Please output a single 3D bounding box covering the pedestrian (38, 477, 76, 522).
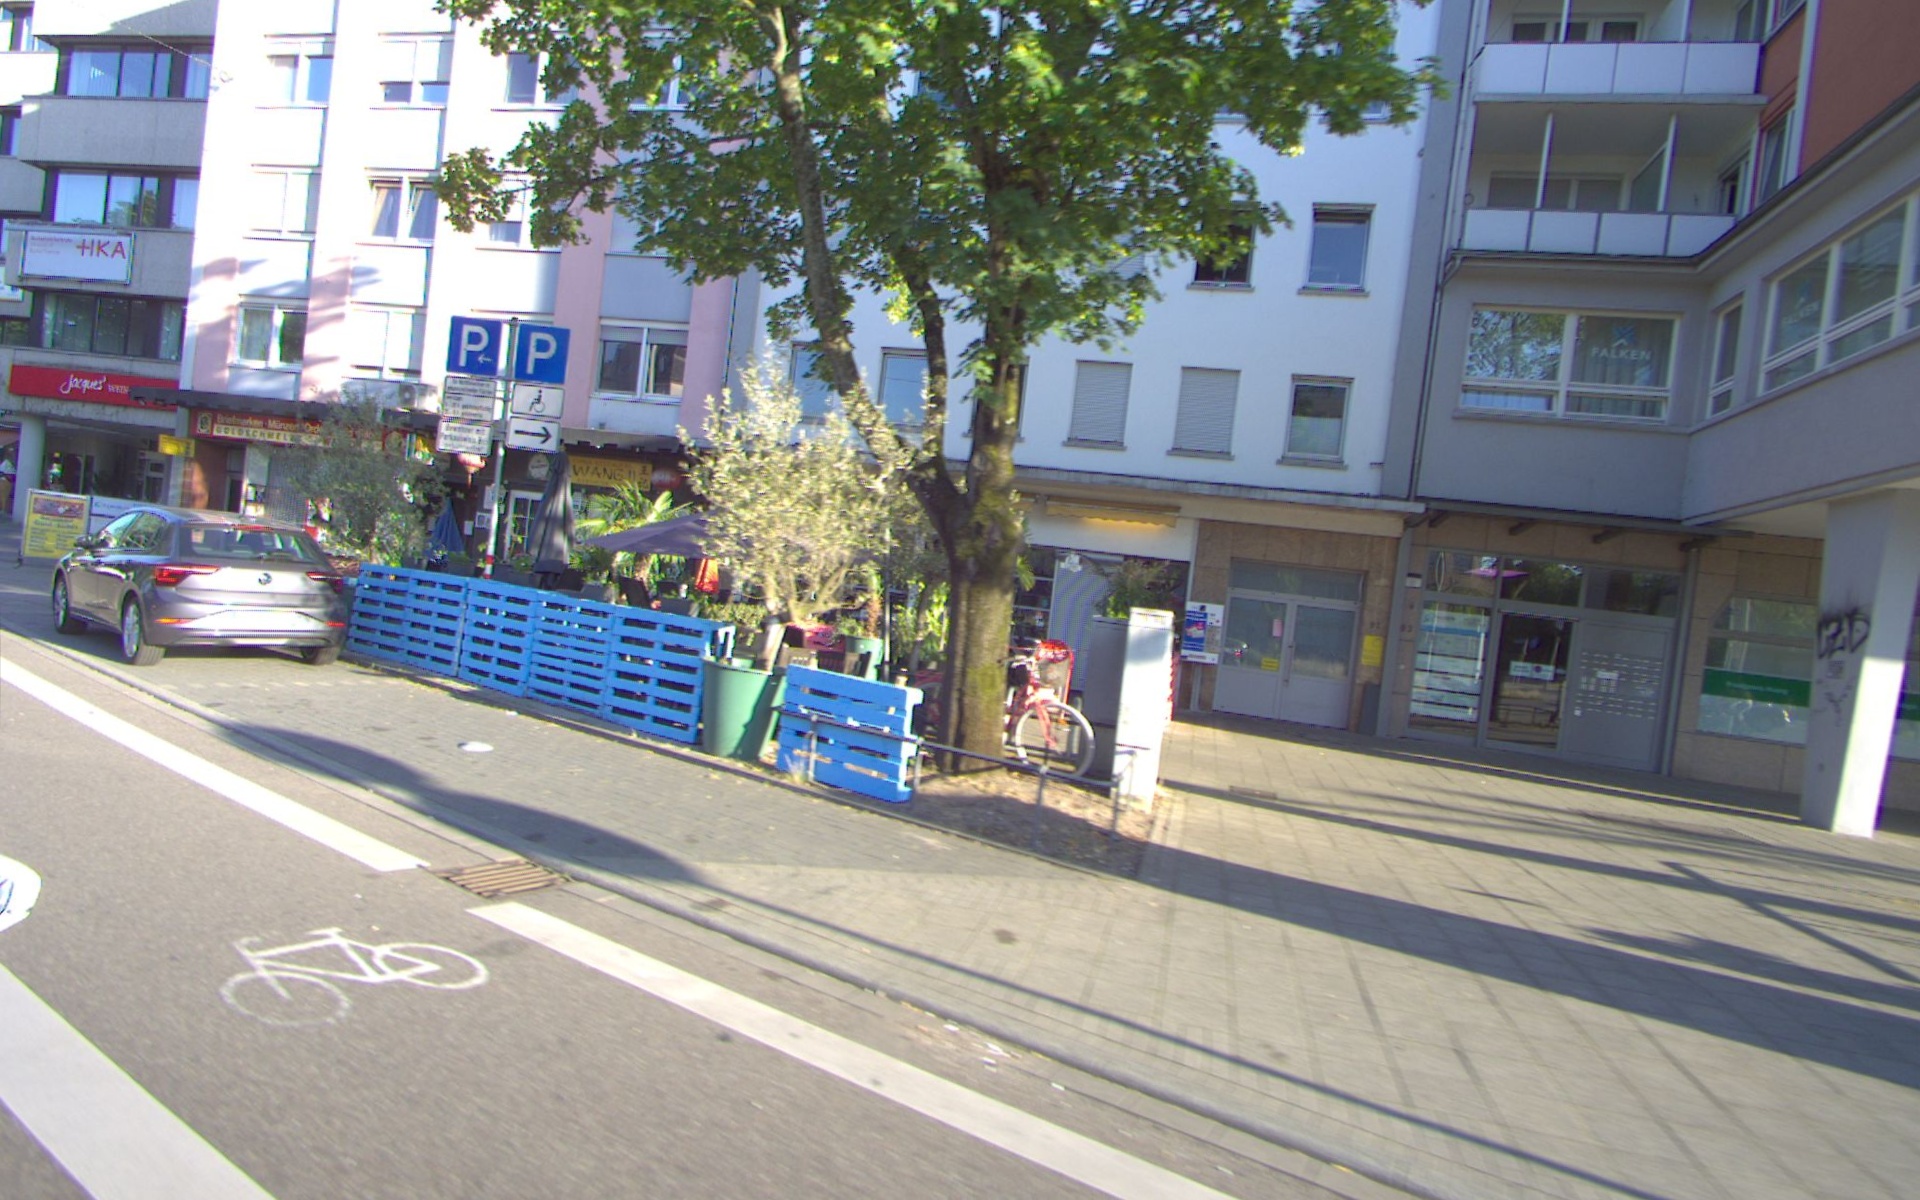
[{"bbox_3d":[-37.205,-4.141,41.445,0.632,1.695,0.988,8,2,38],"label":"pedestrian"}]

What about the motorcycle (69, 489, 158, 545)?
[{"bbox_3d":[-23.791,-2.307,28.315,0.573,1.349,1.785,7,2,25],"label":"motorcycle"}]

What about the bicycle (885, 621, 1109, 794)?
[{"bbox_3d":[0.310,0.882,8.575,1.722,1.172,0.422,8,1,16],"label":"bicycle"}]

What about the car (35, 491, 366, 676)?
[{"bbox_3d":[-8.036,-0.232,10.535,3.839,1.492,1.726,7,3,37],"label":"car"}]

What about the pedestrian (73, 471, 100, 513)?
[{"bbox_3d":[-39.799,-4.922,45.842,0.511,1.781,0.599,7,0,14],"label":"pedestrian"}]
